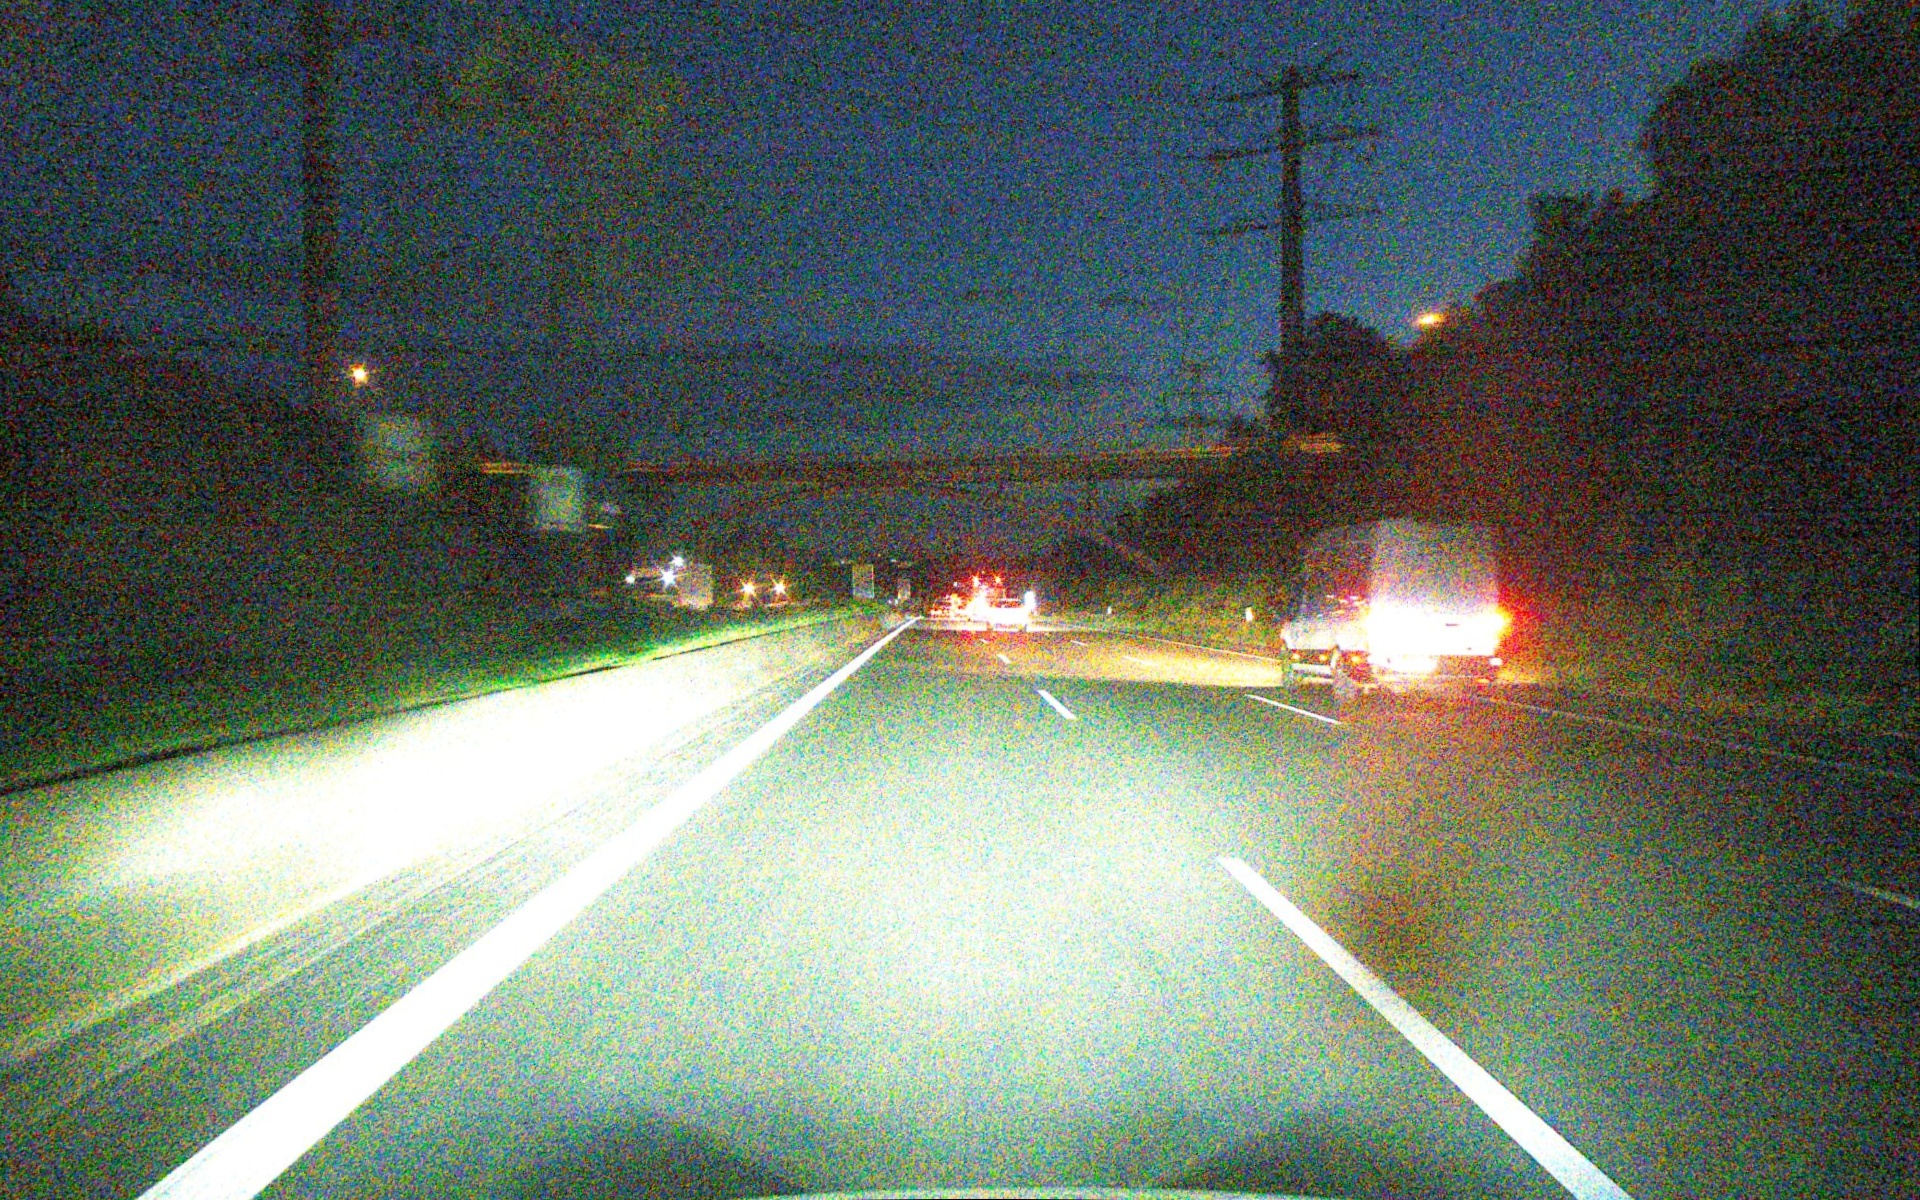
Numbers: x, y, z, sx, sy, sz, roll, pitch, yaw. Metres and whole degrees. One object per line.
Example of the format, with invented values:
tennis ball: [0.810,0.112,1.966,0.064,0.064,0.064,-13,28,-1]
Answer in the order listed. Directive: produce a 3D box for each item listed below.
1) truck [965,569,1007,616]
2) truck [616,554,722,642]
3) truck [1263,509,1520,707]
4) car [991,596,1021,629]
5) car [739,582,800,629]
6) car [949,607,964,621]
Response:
truck: [1.929,-0.623,128.022,2.982,3.382,10.142,1,1,0]
truck: [-16.721,-0.312,96.523,3.180,4.566,17.438,1,1,-1]
truck: [6.741,0.164,26.898,2.035,2.738,7.305,1,-1,-2]
car: [2.192,0.569,78.914,1.318,1.411,3.502,1,1,0]
car: [-9.256,0.225,80.821,2.163,2.048,6.944,1,1,0]
car: [-0.403,1.627,192.217,1.783,1.491,4.248,1,1,0]
